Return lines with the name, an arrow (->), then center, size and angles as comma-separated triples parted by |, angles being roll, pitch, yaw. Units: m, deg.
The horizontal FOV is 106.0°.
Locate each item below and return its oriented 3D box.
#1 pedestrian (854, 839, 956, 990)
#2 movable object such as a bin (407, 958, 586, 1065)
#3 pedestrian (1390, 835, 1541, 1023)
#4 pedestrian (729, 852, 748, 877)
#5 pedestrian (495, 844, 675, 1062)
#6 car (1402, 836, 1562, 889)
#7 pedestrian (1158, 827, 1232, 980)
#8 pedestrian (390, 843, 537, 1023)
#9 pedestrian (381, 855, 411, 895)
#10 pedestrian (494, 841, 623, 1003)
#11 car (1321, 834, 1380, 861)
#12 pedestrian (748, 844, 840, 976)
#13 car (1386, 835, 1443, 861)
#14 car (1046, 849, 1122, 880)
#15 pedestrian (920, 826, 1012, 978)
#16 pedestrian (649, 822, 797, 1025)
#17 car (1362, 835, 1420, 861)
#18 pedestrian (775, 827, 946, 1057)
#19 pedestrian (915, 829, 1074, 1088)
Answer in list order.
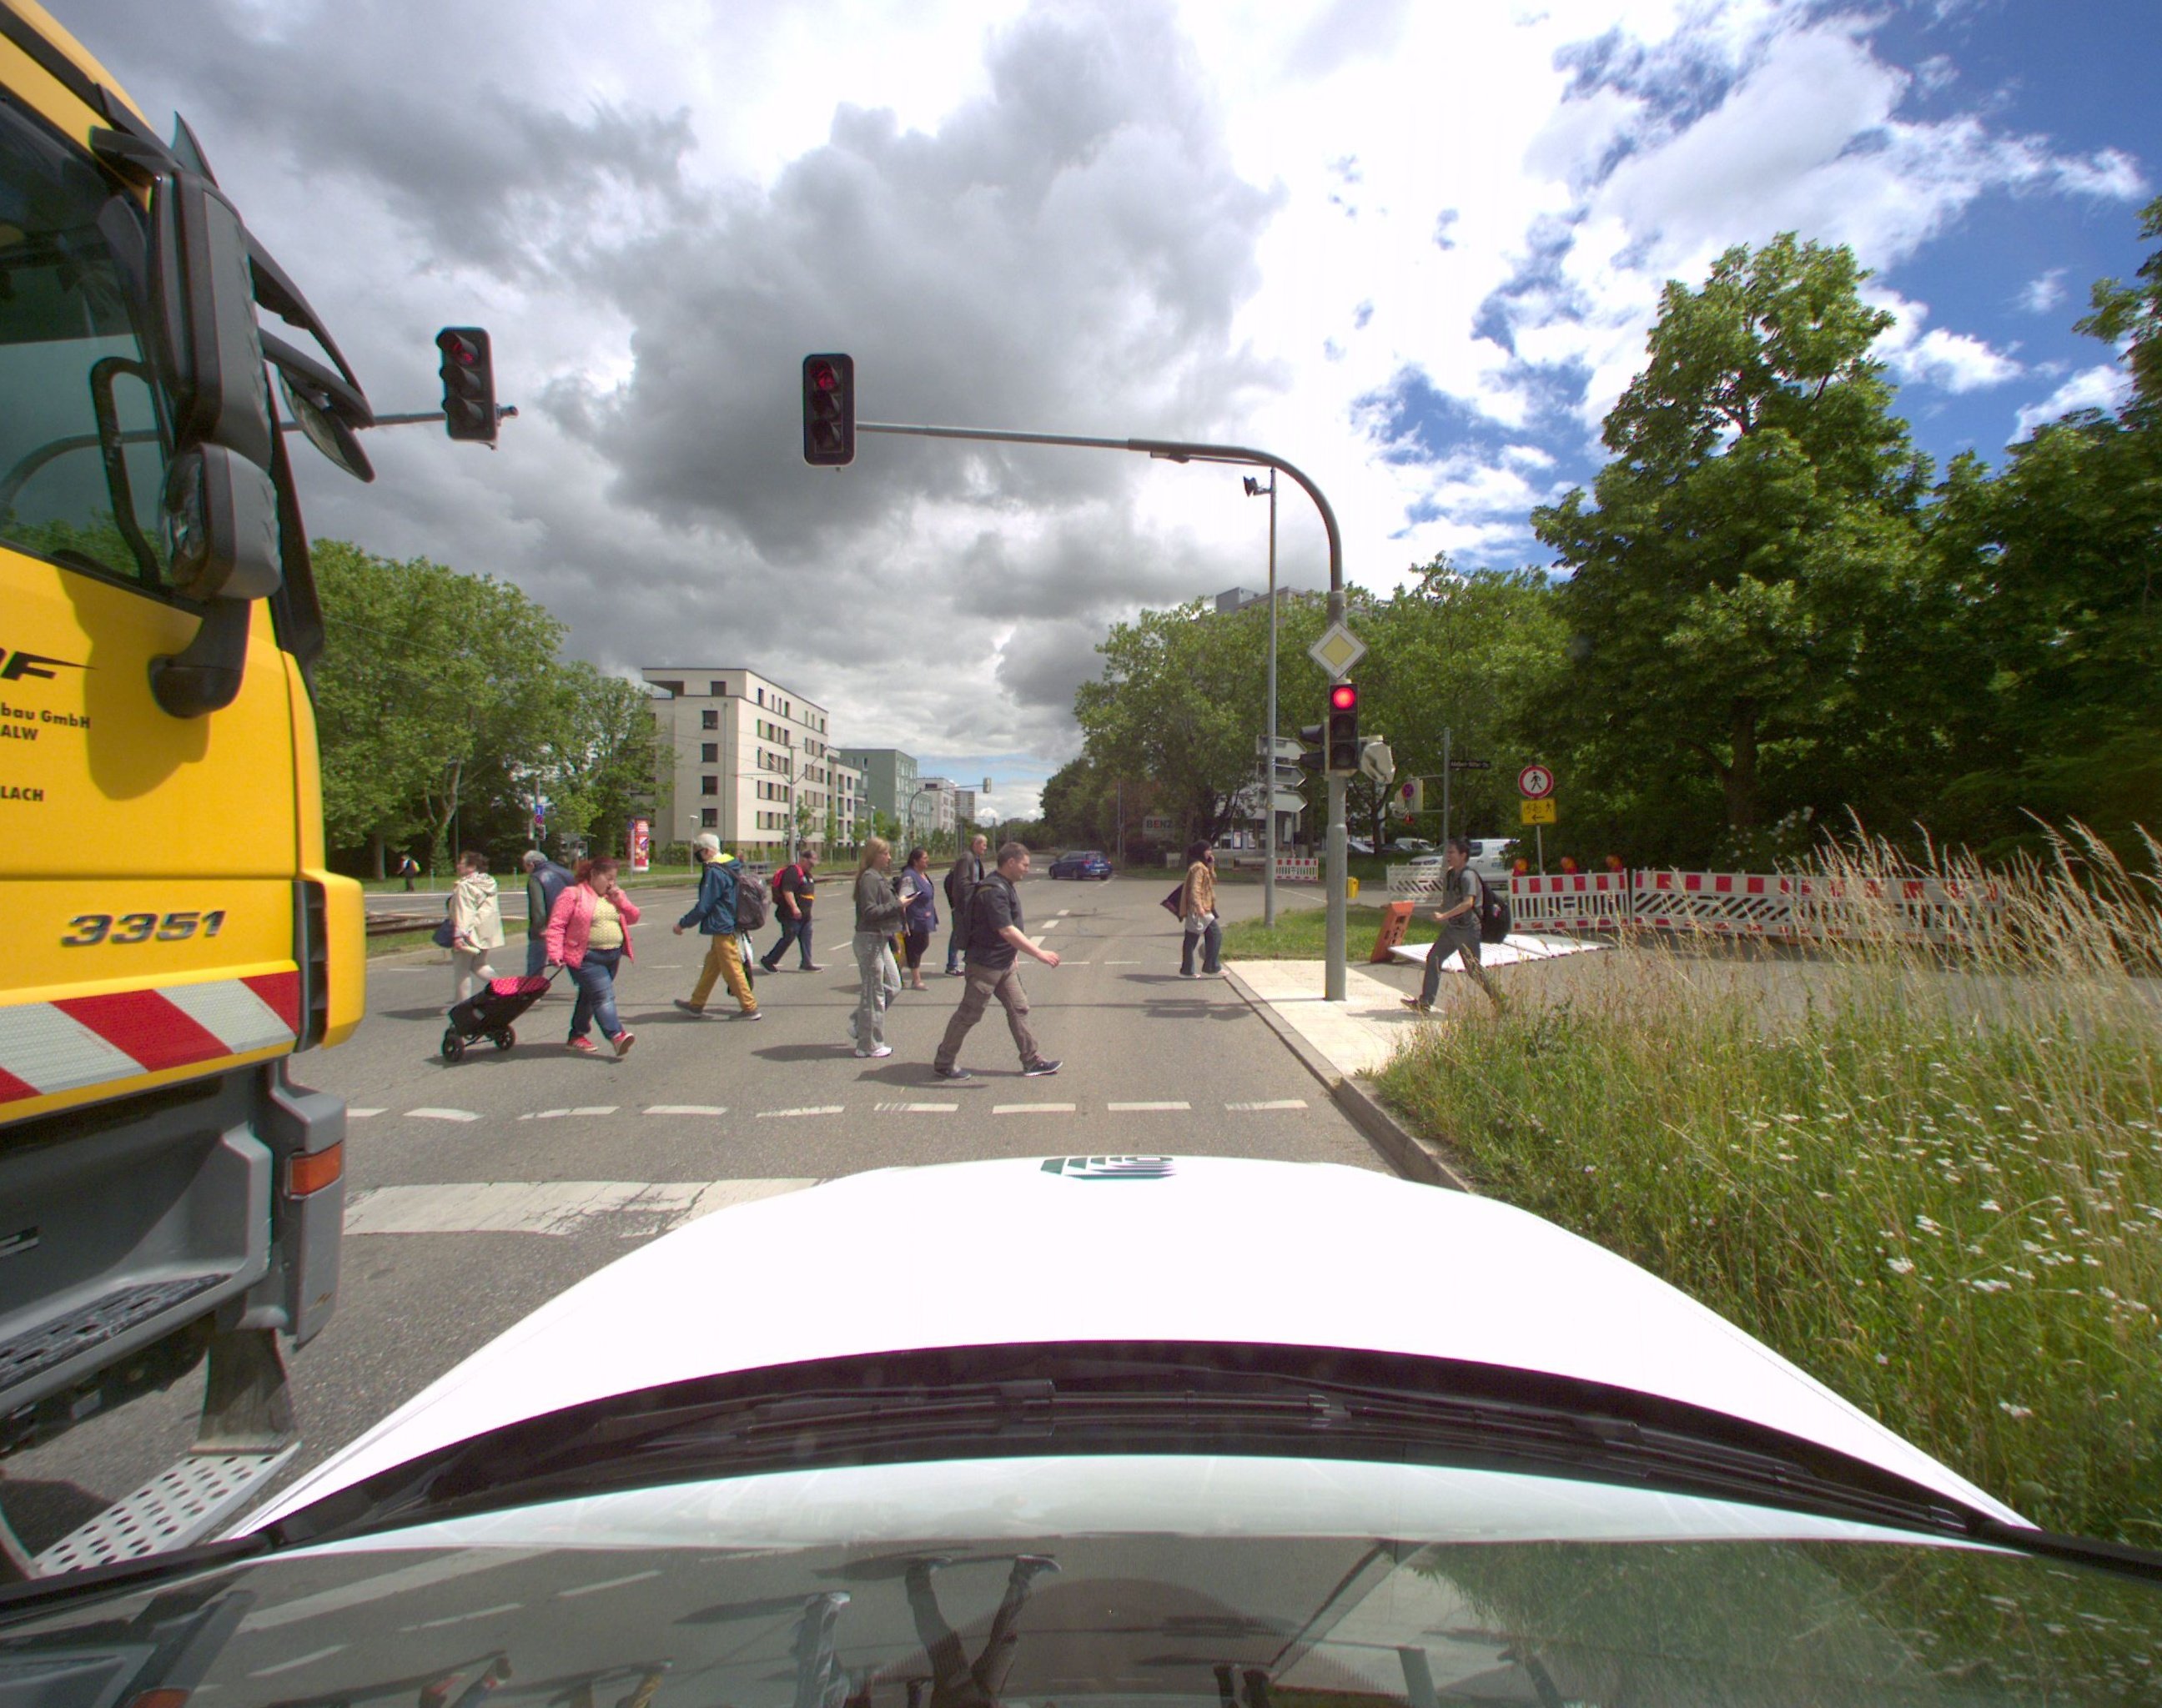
pedestrian -> -1.944, 0.641, 9.126 | 0.909, 1.607, 0.929 | -1, 0, 0
movable object such as a bin -> -4.453, 1.186, 6.260 | 0.792, 0.662, 0.778 | -1, 0, 2
pedestrian -> 3.361, 0.620, 7.201 | 0.942, 1.552, 0.844 | -1, 0, 1
pedestrian -> -20.572, 0.639, 48.972 | 0.827, 1.516, 0.636 | -1, 0, 1
pedestrian -> -3.740, 0.709, 6.208 | 0.877, 1.554, 0.747 | -1, 0, 2
car -> 14.914, 0.295, 30.448 | 5.063, 1.874, 1.947 | -1, 0, -2
pedestrian -> 1.345, 0.565, 9.743 | 0.779, 1.742, 0.829 | -1, 0, 2
pedestrian -> -5.926, 0.722, 7.859 | 0.820, 1.640, 0.733 | -1, 0, -1
pedestrian -> -29.254, 0.891, 34.788 | 0.930, 1.676, 1.088 | -1, 0, -40
pedestrian -> -5.508, 0.684, 8.638 | 0.866, 1.634, 0.765 | 0, 0, -2
car -> 20.565, -0.490, 62.244 | 2.006, 2.013, 3.962 | -1, 0, -29
pedestrian -> -3.647, 0.680, 10.427 | 0.891, 1.596, 0.906 | -1, 0, -5
car -> 27.311, -0.501, 66.858 | 2.006, 2.013, 3.962 | -1, 0, -29
car -> 0.064, 0.498, 41.148 | 1.994, 1.486, 4.450 | -1, 0, -28
pedestrian -> -1.394, 0.561, 10.075 | 0.999, 1.773, 0.929 | -1, 0, -1
pedestrian -> -3.322, 0.605, 7.664 | 1.008, 1.774, 0.946 | 0, 0, -6
car -> 24.596, -0.497, 64.725 | 2.006, 2.013, 3.962 | -1, 0, -29
pedestrian -> -1.671, 0.635, 6.336 | 1.016, 1.648, 0.930 | -1, 0, 3
pedestrian -> -0.555, 0.667, 5.640 | 0.955, 1.648, 0.881 | -1, 0, 2
